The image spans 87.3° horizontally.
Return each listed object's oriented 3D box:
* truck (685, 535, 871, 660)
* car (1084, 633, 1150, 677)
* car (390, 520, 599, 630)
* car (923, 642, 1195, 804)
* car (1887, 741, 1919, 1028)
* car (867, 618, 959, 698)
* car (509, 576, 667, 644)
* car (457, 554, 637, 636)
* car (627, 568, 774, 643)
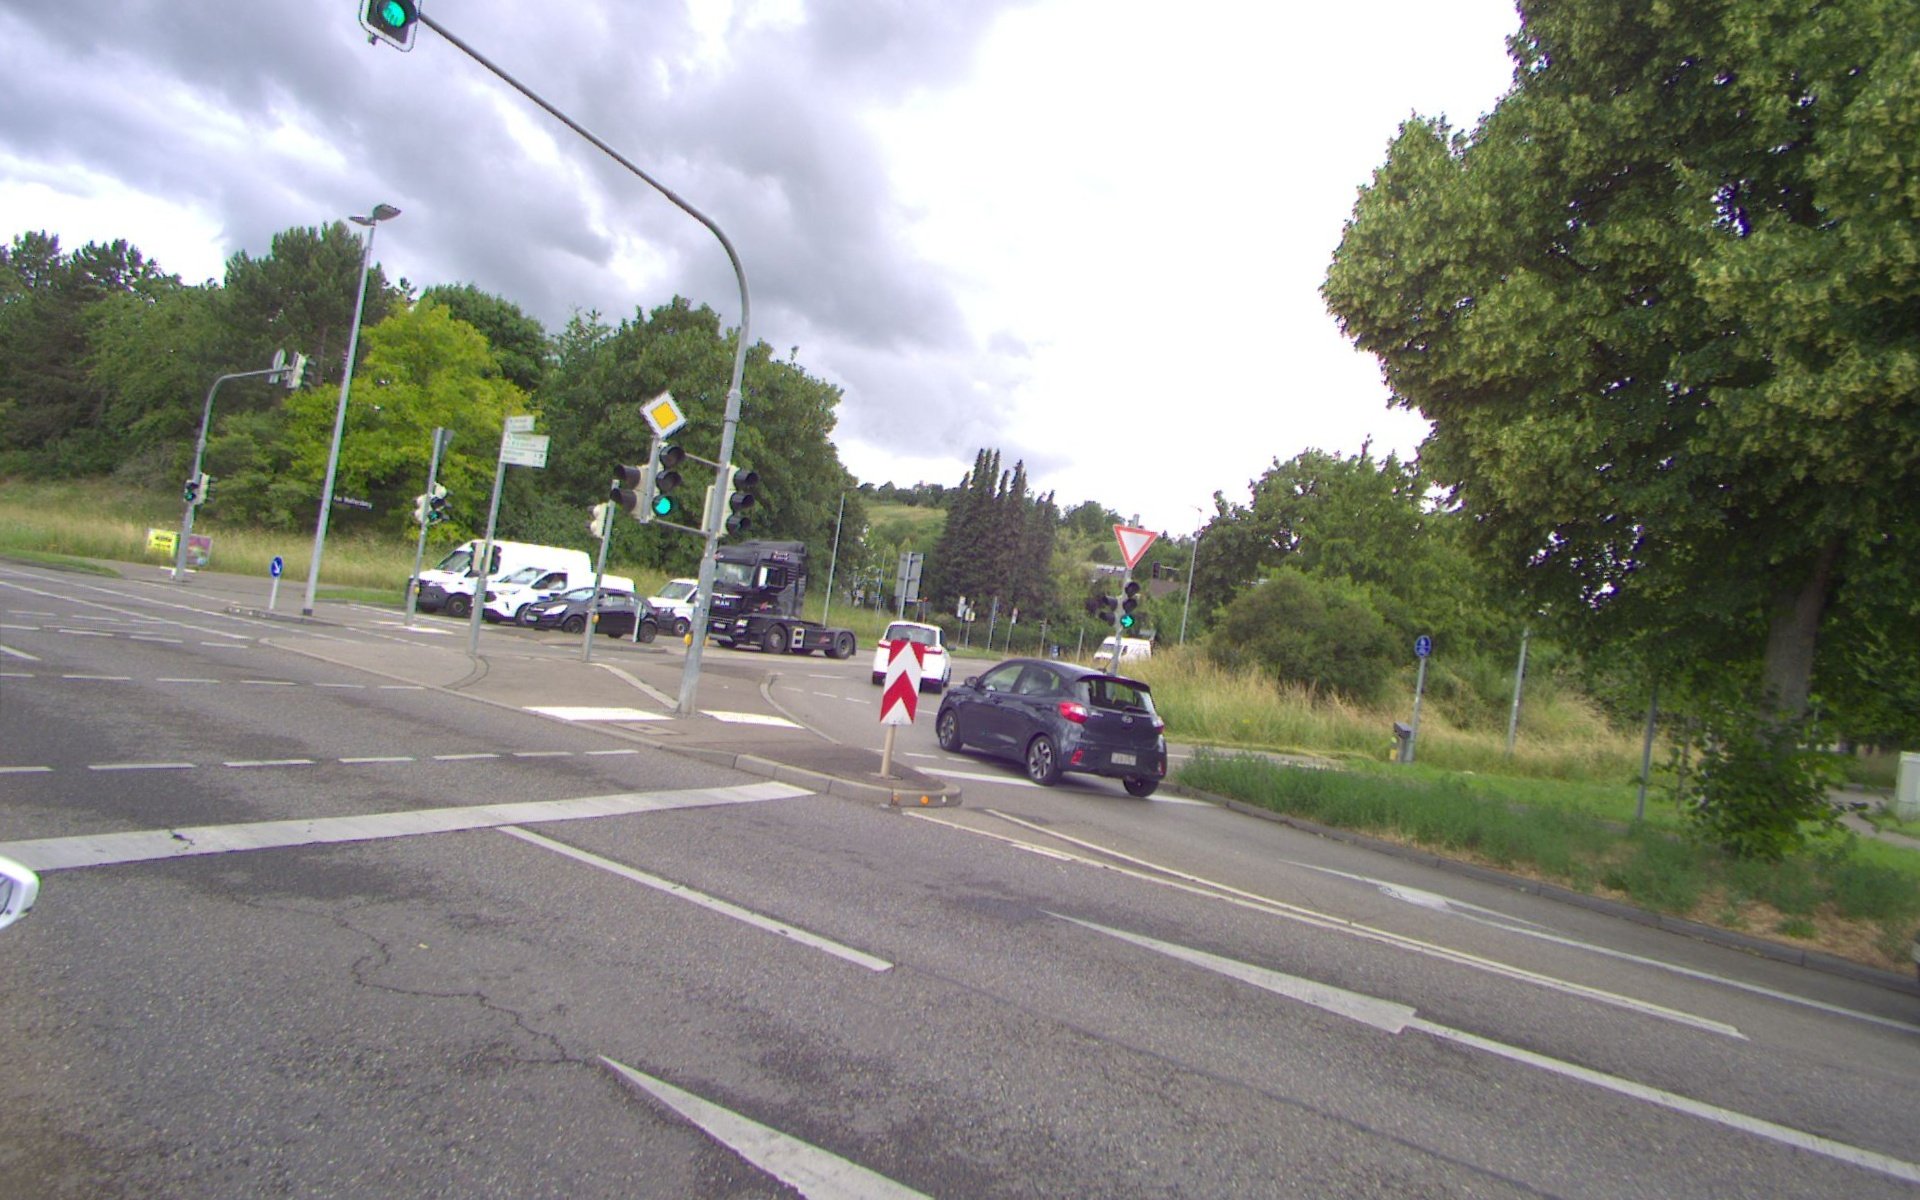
[{"bbox_3d":[-6.212,0.026,35.339,2.682,3.580,6.061,7,-1,32],"label":"truck"},{"bbox_3d":[11.687,4.105,74.445,2.160,2.640,6.509,7,-1,32],"label":"car"},{"bbox_3d":[-15.337,-0.735,33.596,2.100,2.814,5.903,7,-1,32],"label":"car"},{"bbox_3d":[1.146,1.521,13.199,1.610,1.446,3.589,12,-4,-29],"label":"car"},{"bbox_3d":[8.139,2.011,5.147,4.650,1.852,1.920,7,-5,37],"label":"car"},{"bbox_3d":[-1.127,1.429,26.300,1.751,1.613,4.460,10,0,3],"label":"car"},{"bbox_3d":[-10.607,0.337,28.928,1.703,1.453,3.927,7,-1,31],"label":"car"},{"bbox_3d":[-12.934,-0.093,31.814,1.999,1.918,4.862,7,-1,31],"label":"car"},{"bbox_3d":[-10.426,0.292,40.903,2.100,2.316,5.709,7,-1,32],"label":"car"}]
